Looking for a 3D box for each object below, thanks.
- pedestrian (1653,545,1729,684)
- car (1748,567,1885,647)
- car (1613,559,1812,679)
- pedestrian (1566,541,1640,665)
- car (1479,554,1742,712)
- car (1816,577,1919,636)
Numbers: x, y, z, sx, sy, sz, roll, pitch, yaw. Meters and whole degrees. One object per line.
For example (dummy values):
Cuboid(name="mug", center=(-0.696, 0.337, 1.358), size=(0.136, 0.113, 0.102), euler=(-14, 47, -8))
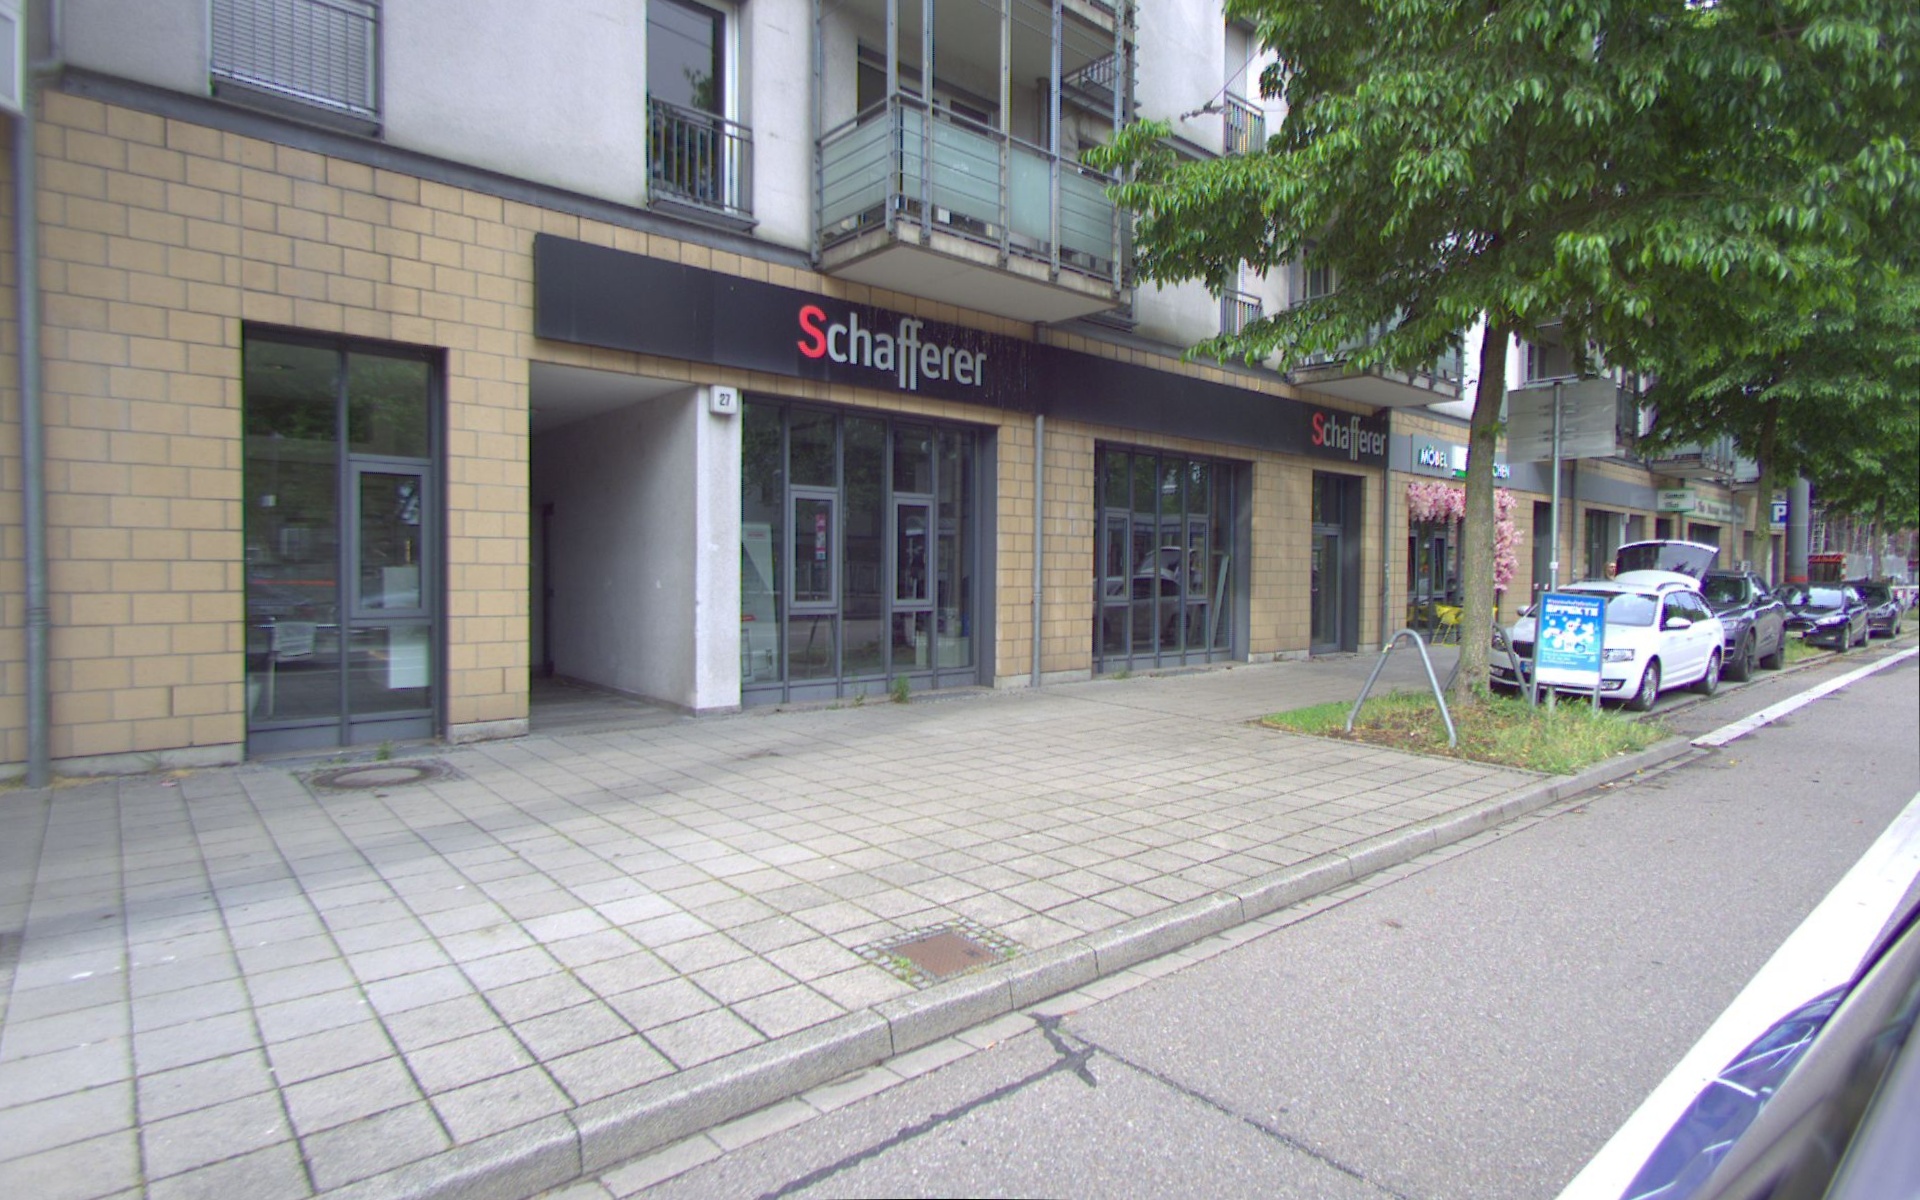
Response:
Cuboid(name="pedestrian", center=(10.590, 0.192, 14.670), size=(0.630, 1.958, 0.655), euler=(-1, 0, -26))
Cuboid(name="car", center=(18.900, 0.091, 22.288), size=(3.874, 1.563, 1.684), euler=(-1, 3, -41))
Cuboid(name="car", center=(12.226, 0.219, 16.370), size=(3.874, 1.682, 1.730), euler=(-1, 3, -41))
Cuboid(name="pedestrian", center=(9.833, 0.042, 15.479), size=(0.825, 1.828, 0.744), euler=(-1, 0, -42))
Cuboid(name="car", center=(8.487, 0.305, 13.079), size=(4.032, 1.682, 1.730), euler=(-1, 4, -41))
Cuboid(name="car", center=(24.608, 0.116, 27.281), size=(3.749, 1.400, 1.730), euler=(-1, 3, -41))
